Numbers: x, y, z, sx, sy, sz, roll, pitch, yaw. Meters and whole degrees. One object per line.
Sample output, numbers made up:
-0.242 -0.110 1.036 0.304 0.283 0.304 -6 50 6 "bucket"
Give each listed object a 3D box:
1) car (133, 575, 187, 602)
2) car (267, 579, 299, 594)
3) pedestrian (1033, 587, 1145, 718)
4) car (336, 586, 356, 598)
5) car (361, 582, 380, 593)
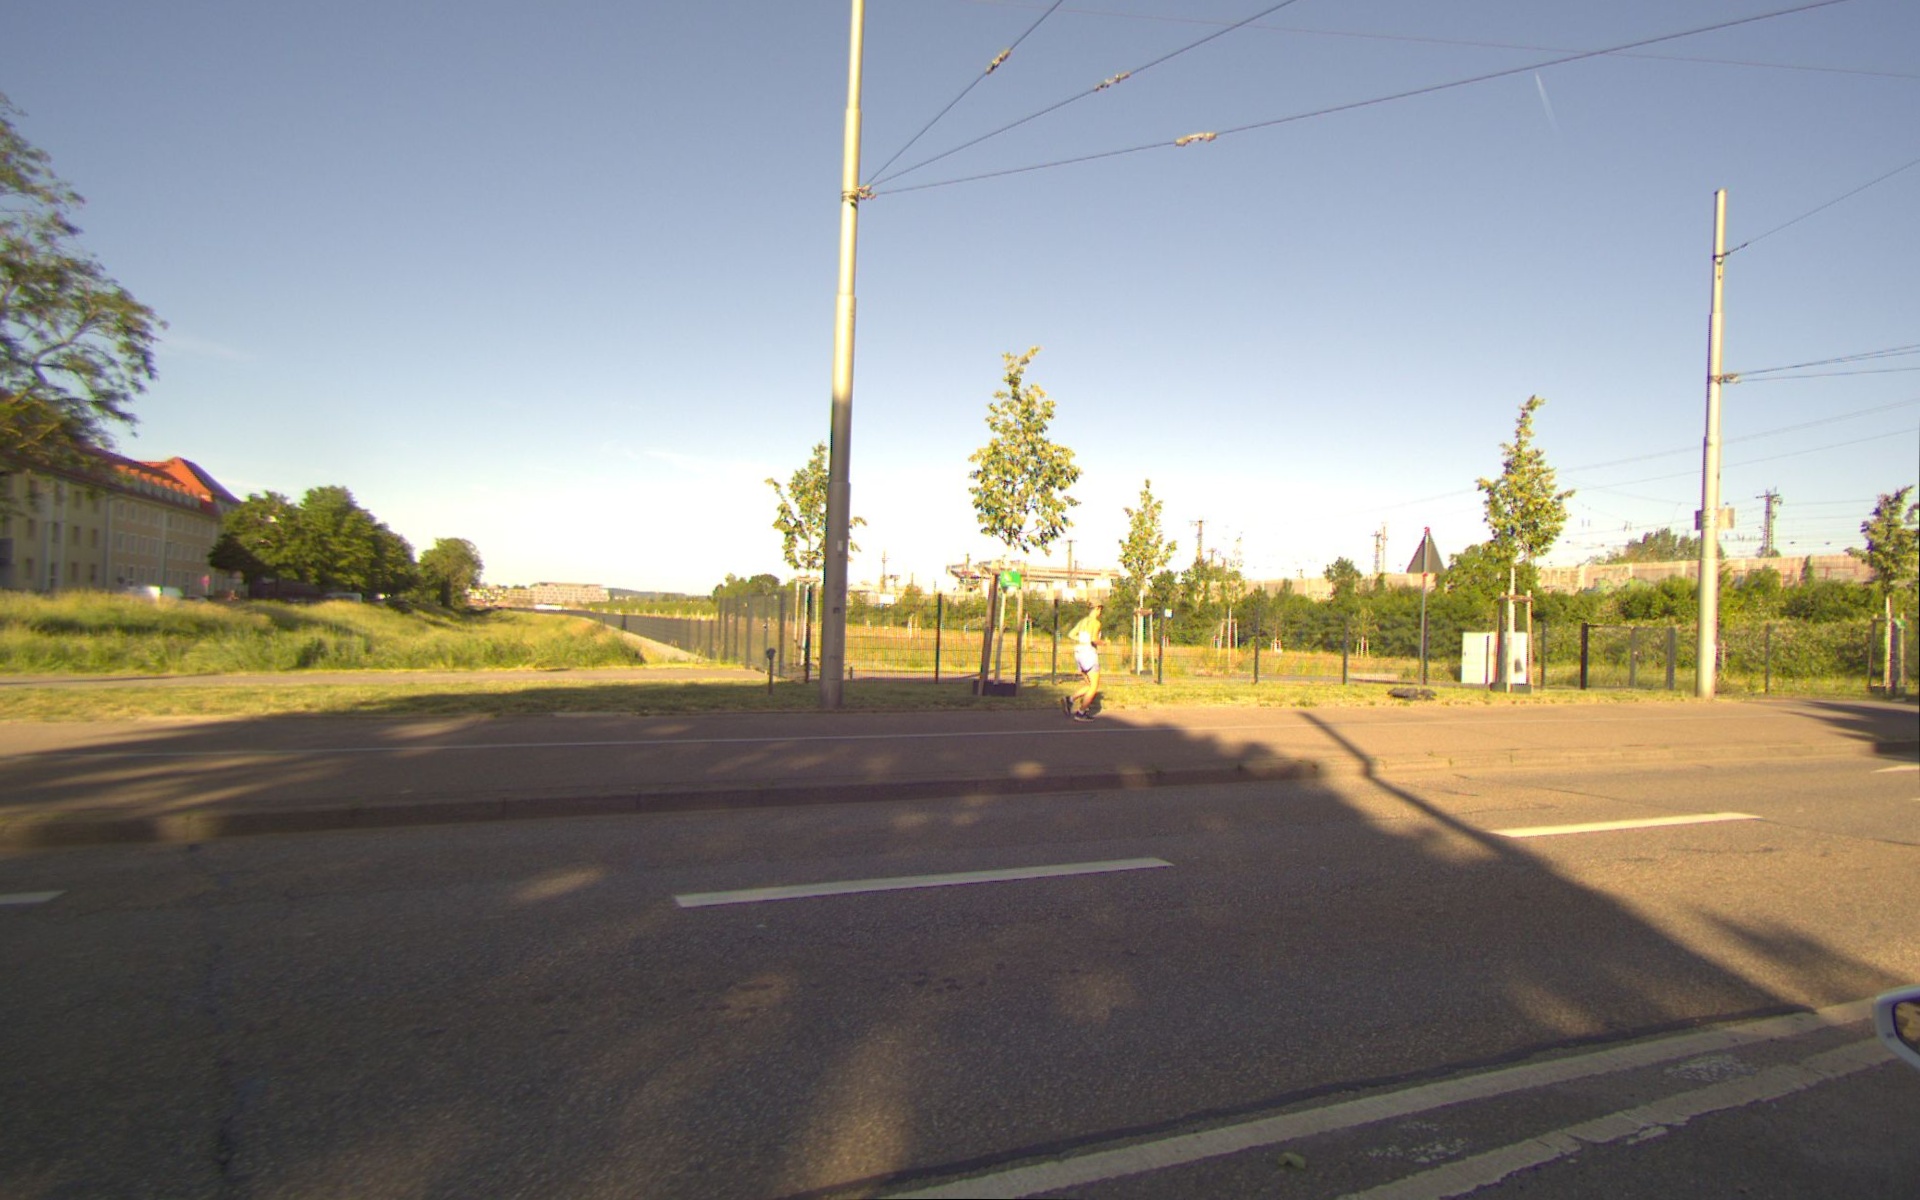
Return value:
-48.750 -0.683 61.273 1.677 1.550 3.877 0 0 -25 "car"
-72.214 -1.408 107.199 1.913 1.513 4.187 2 -1 -21 "car"
1.709 0.690 13.365 1.163 1.651 0.831 2 1 -20 "pedestrian"
-77.458 -0.982 126.761 1.677 1.550 3.877 0 0 -25 "car"
-94.061 -1.975 160.278 1.913 1.513 4.187 2 -1 -21 "car"
